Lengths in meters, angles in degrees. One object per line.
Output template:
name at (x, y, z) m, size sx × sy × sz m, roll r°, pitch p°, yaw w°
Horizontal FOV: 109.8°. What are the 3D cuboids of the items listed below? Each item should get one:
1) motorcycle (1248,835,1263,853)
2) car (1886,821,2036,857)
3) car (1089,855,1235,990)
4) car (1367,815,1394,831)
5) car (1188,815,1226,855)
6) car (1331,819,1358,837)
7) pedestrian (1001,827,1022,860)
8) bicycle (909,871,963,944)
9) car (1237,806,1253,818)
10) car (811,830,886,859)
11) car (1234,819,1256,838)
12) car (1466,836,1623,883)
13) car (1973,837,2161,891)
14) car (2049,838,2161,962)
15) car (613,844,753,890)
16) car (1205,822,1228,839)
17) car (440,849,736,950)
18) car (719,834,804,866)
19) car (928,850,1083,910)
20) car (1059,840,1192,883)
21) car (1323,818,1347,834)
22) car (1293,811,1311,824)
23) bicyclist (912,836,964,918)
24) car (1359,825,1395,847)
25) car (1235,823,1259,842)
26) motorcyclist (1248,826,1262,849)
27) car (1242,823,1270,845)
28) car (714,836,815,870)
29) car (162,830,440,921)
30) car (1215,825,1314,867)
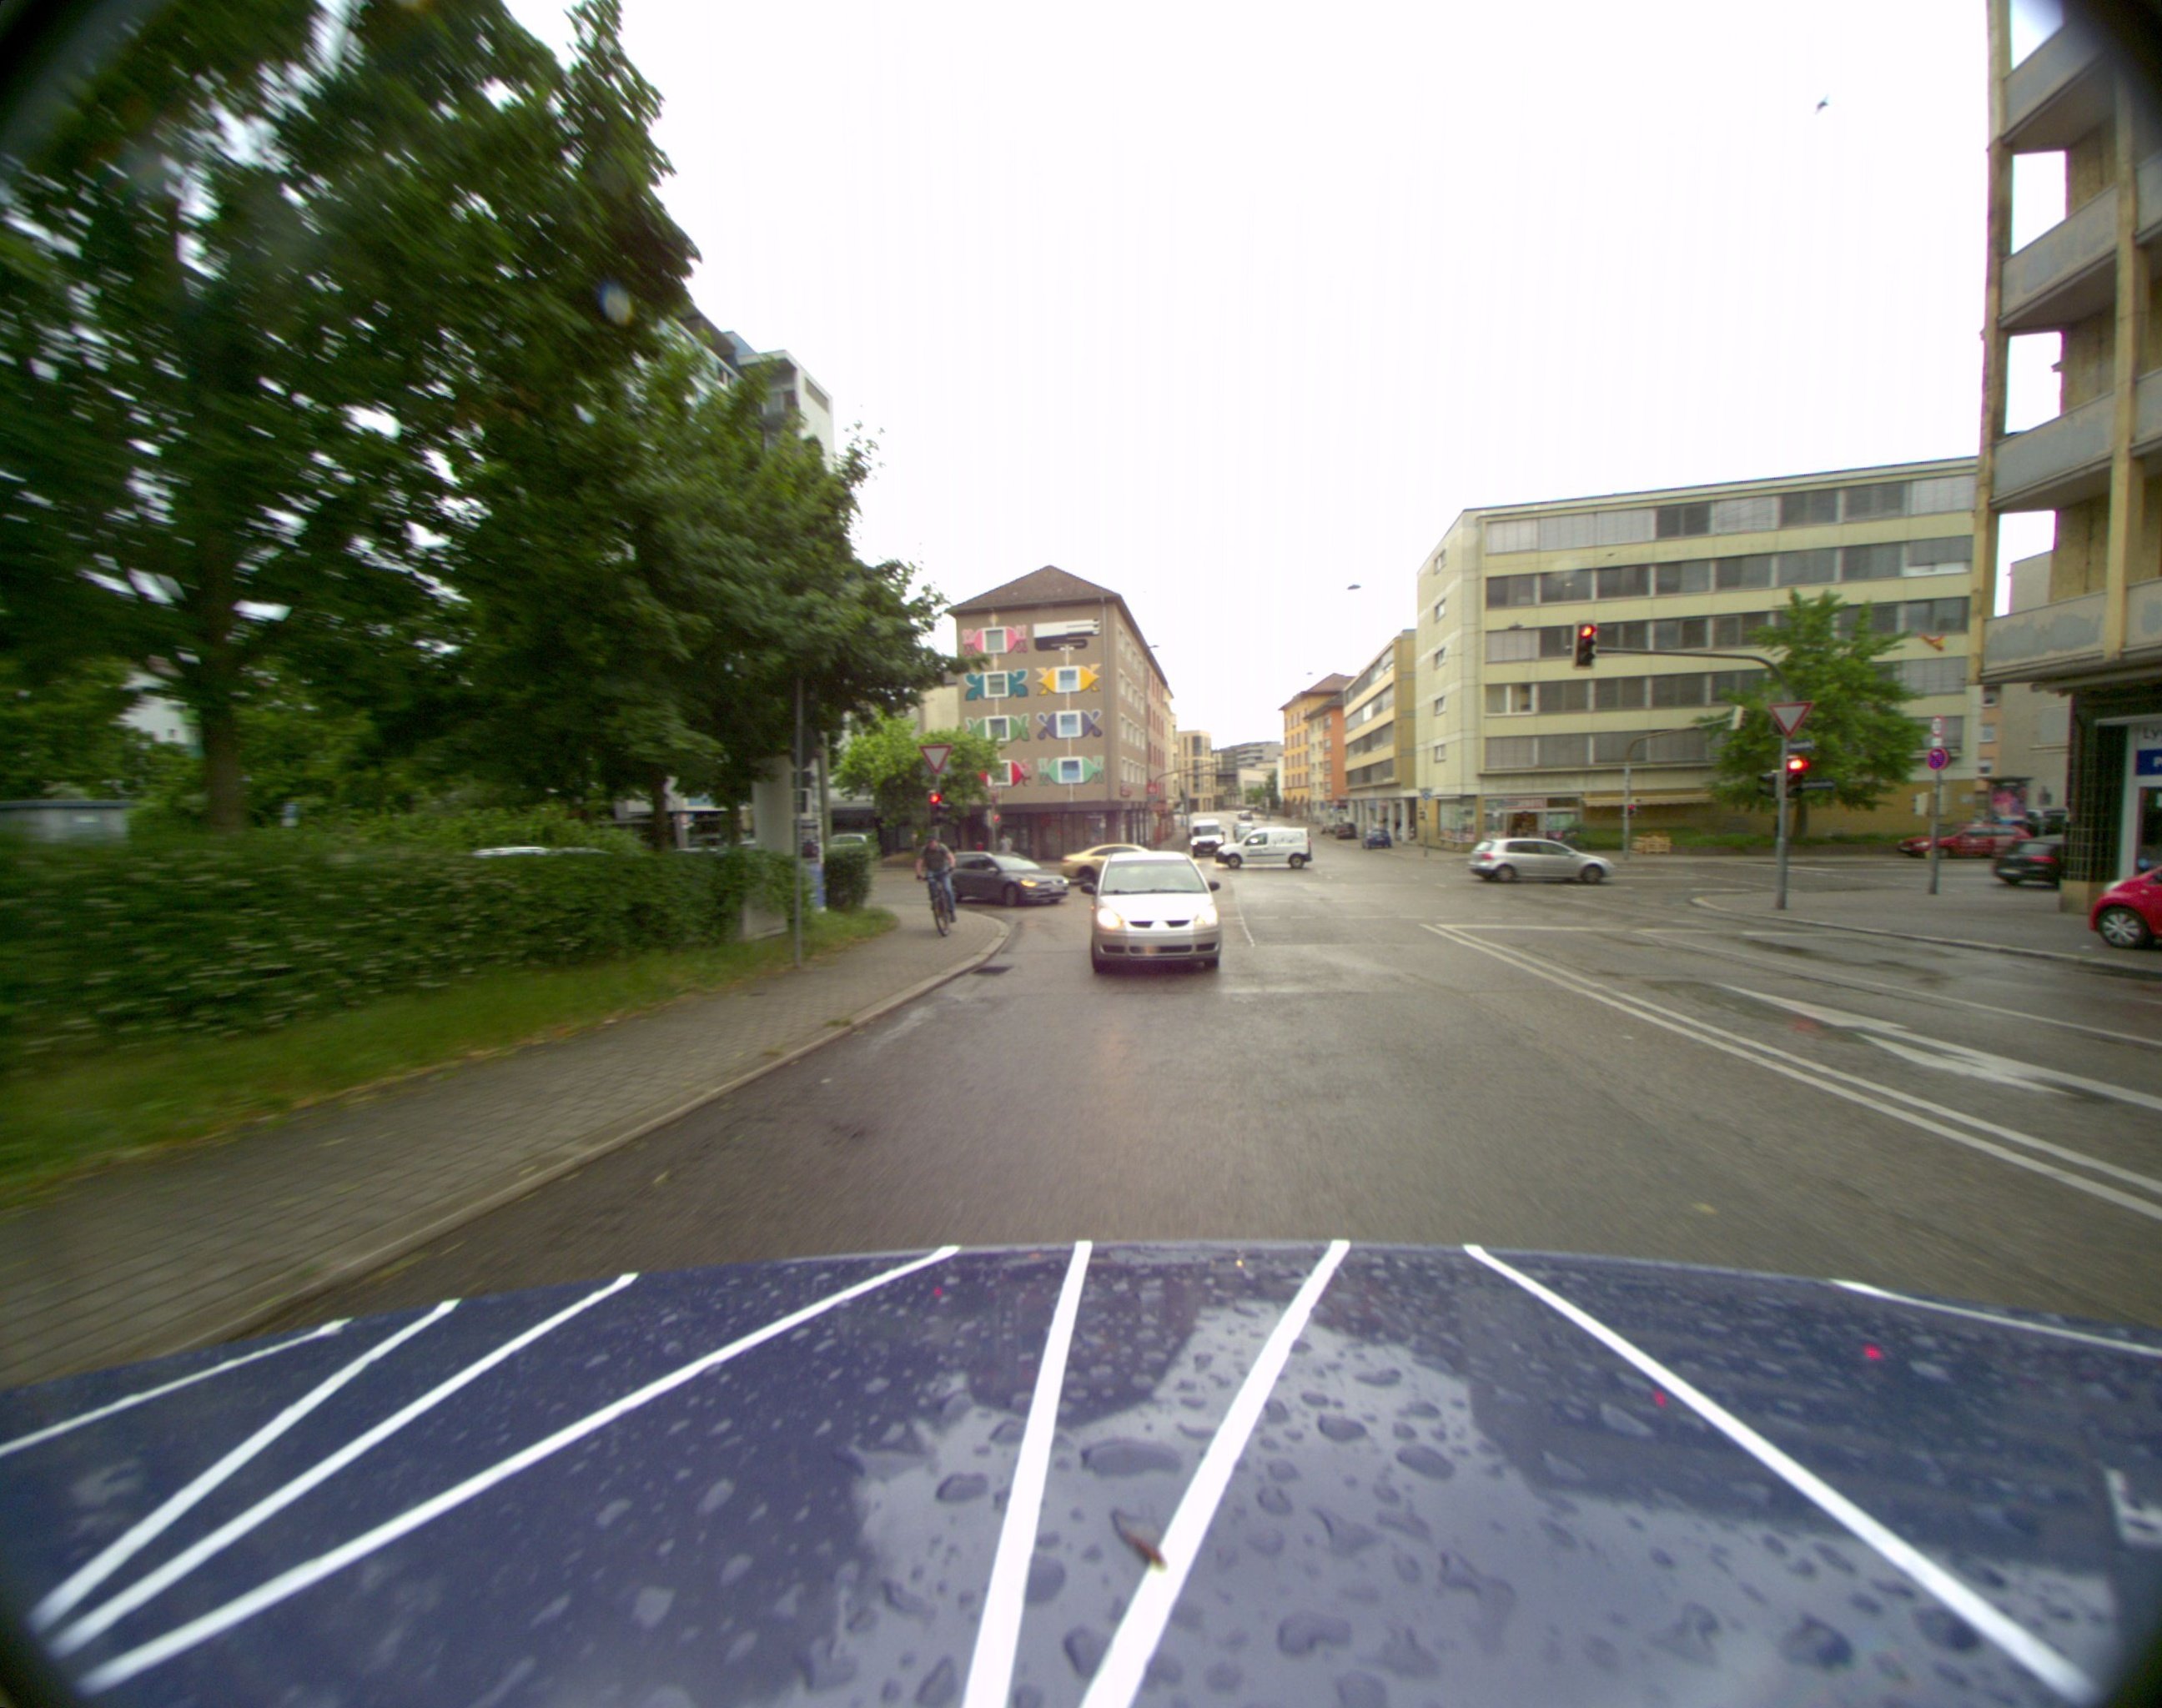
motorcycle at (11.495, -0.668, 50.142) m, size 0.878 × 1.093 × 1.801 m, roll -1°, pitch 2°, yaw 11°
car at (38.226, -0.662, 33.126) m, size 3.883 × 1.419 × 1.726 m, roll 0°, pitch 4°, yaw 16°
car at (1.006, 0.829, 11.026) m, size 1.686 × 1.496 × 3.838 m, roll -3°, pitch 1°, yaw 1°
car at (31.090, -3.201, 78.988) m, size 1.847 × 1.558 × 4.371 m, roll -3°, pitch 1°, yaw 11°
car at (8.788, -1.343, 52.554) m, size 2.229 × 2.510 × 5.474 m, roll -3°, pitch 1°, yaw 12°
car at (25.529, -2.522, 73.809) m, size 1.847 × 1.558 × 4.372 m, roll -3°, pitch 1°, yaw 12°
pedestrian at (-3.705, -0.563, 40.387) m, size 0.902 × 1.764 × 0.818 m, roll 0°, pitch 2°, yaw 10°
bicycle at (-2.727, 0.979, 14.462) m, size 0.889 × 1.181 × 2.131 m, roll 2°, pitch 1°, yaw -9°
car at (26.355, -6.748, 122.238) m, size 1.848 × 1.700 × 4.367 m, roll -1°, pitch 4°, yaw 3°
car at (-14.481, -0.588, 47.382) m, size 4.179 × 1.657 × 1.651 m, roll 1°, pitch 5°, yaw 10°
car at (15.447, -2.398, 71.597) m, size 1.847 × 1.705 × 3.571 m, roll -3°, pitch 1°, yaw 12°
car at (15.097, 0.157, 24.962) m, size 4.030 × 1.417 × 1.688 m, roll 0°, pitch 3°, yaw 11°
car at (29.456, 0.286, 22.237) m, size 4.160 × 1.417 × 1.689 m, roll 2°, pitch 2°, yaw 11°
car at (13.929, 0.561, 8.662) m, size 1.612 × 1.456 × 3.536 m, roll -3°, pitch 1°, yaw 10°
car at (-15.944, 0.505, 30.575) m, size 4.574 × 1.572 × 1.990 m, roll 0°, pitch 8°, yaw 9°
car at (12.057, -2.086, 67.608) m, size 1.847 × 1.411 × 3.571 m, roll -3°, pitch 1°, yaw 12°
car at (-8.469, 0.764, 13.218) m, size 4.206 × 1.612 × 1.638 m, roll -1°, pitch 0°, yaw 7°
car at (-18.201, -0.255, 43.356) m, size 4.179 × 1.657 × 1.651 m, roll 1°, pitch 5°, yaw 10°
car at (-2.252, 0.679, 21.869) m, size 4.488 × 1.496 × 1.691 m, roll 0°, pitch 3°, yaw 39°
car at (1.671, 0.239, 27.476) m, size 4.574 × 1.433 × 1.992 m, roll 0°, pitch 2°, yaw 11°
car at (26.797, -2.967, 80.305) m, size 1.847 × 1.558 × 4.372 m, roll -3°, pitch 1°, yaw 12°
car at (29.237, -4.818, 100.666) m, size 1.847 × 1.558 × 4.372 m, roll -3°, pitch 1°, yaw 12°
bicyclist at (-2.693, 0.417, 14.424) m, size 0.889 × 1.481 × 0.967 m, roll 2°, pitch 1°, yaw -9°
car at (22.015, -1.355, 56.645) m, size 1.847 × 1.411 × 3.571 m, roll -3°, pitch 1°, yaw 12°
car at (13.700, -1.777, 62.793) m, size 1.847 × 1.411 × 3.571 m, roll -3°, pitch 1°, yaw 12°
motorcyclist at (11.517, -1.110, 50.265) m, size 0.878 × 1.471 × 0.797 m, roll -1°, pitch 2°, yaw 11°
car at (12.758, -1.472, 55.401) m, size 1.847 × 1.411 × 3.571 m, roll -3°, pitch 1°, yaw 12°
car at (-16.525, -0.076, 39.764) m, size 4.562 × 1.693 × 1.993 m, roll 0°, pitch 2°, yaw 15°
car at (-16.123, 0.359, 16.000) m, size 1.634 × 1.687 × 3.705 m, roll -1°, pitch 1°, yaw 14°
car at (8.224, -0.370, 34.257) m, size 4.223 × 1.845 × 1.993 m, roll 0°, pitch 2°, yaw 13°
